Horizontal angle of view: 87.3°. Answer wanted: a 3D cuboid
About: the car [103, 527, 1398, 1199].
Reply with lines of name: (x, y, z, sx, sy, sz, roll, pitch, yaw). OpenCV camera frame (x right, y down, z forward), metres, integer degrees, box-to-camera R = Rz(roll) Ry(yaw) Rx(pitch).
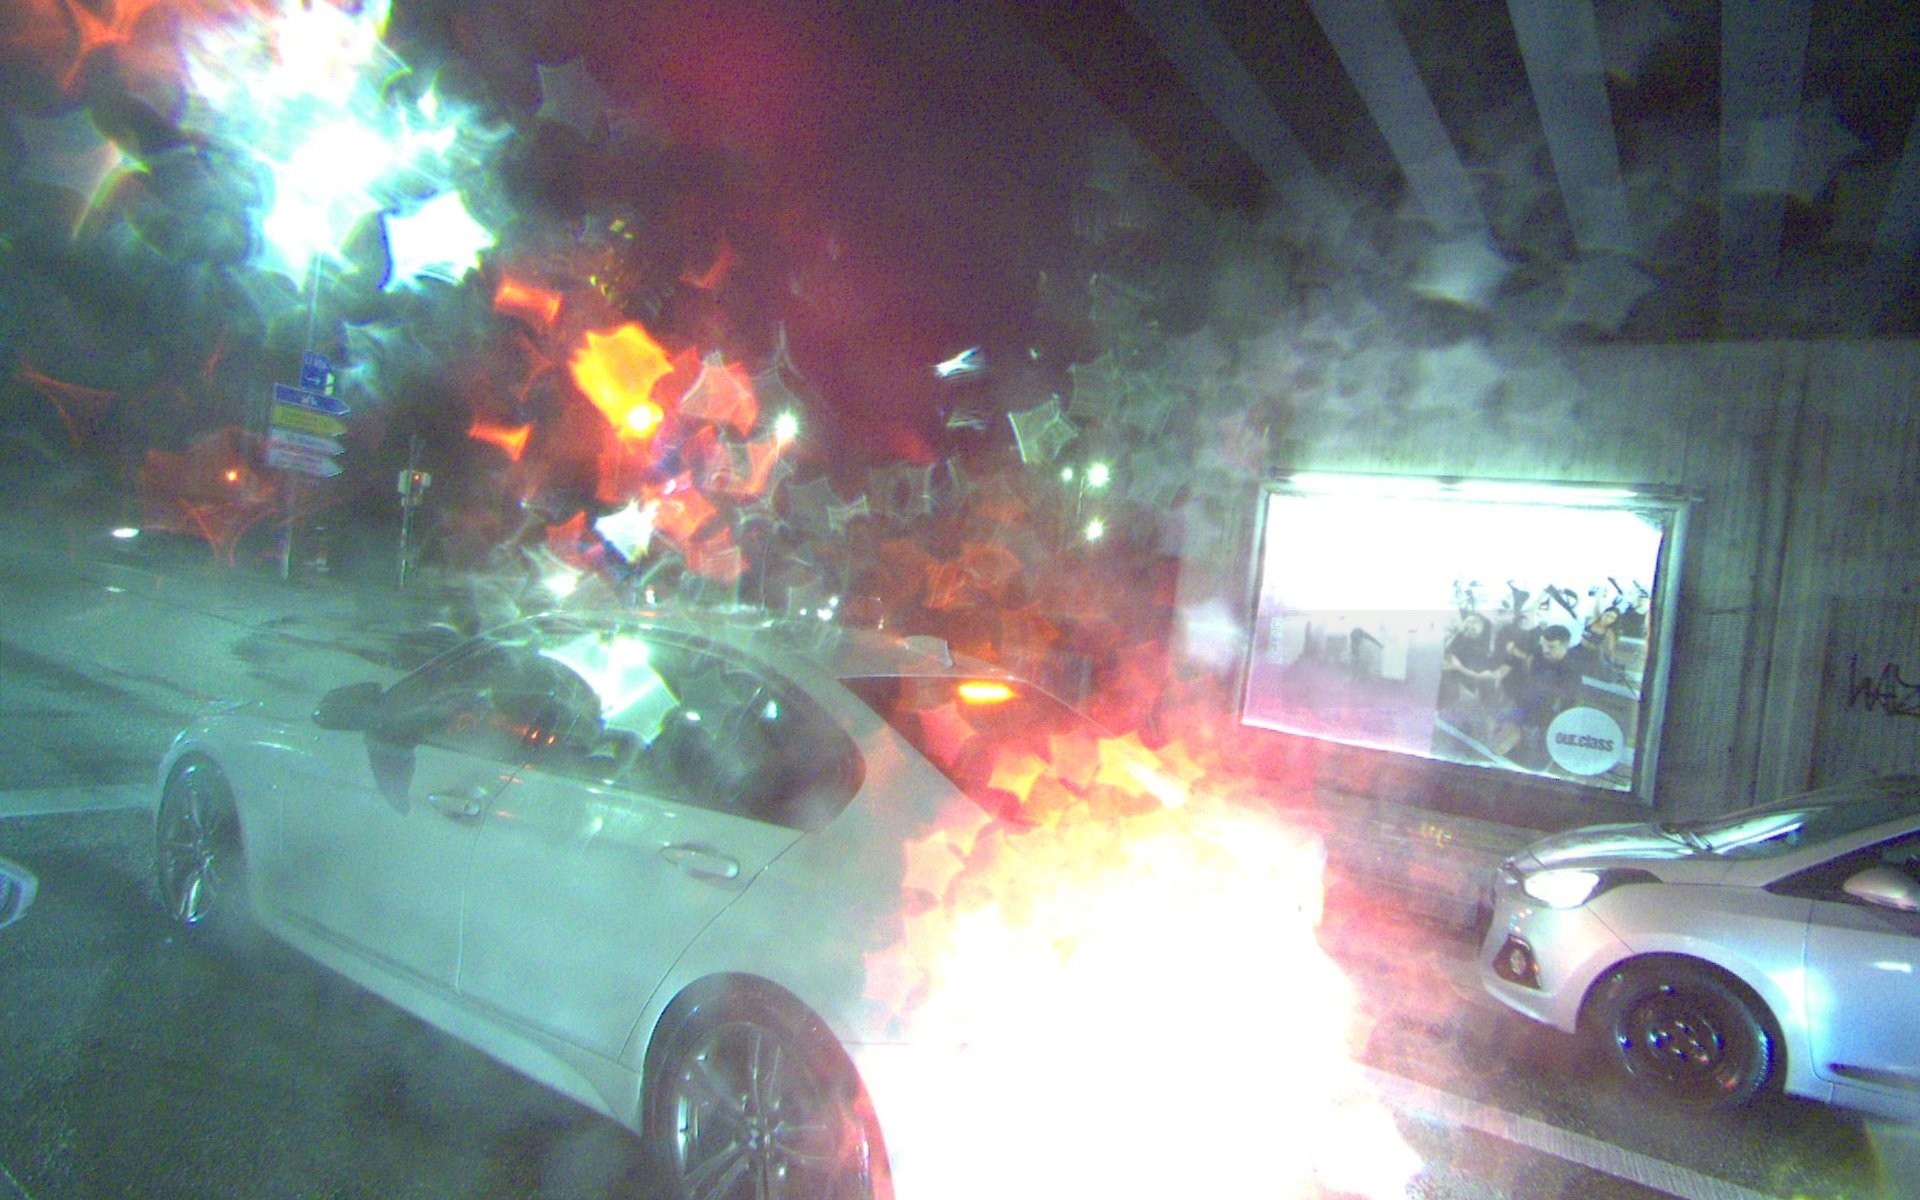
car: (-0.974, 0.704, 3.495, 4.277, 1.420, 1.720, 6, -2, 32)

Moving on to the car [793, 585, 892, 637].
car: (-5.281, 0.541, 45.740, 1.831, 1.769, 4.496, 6, -2, 35)

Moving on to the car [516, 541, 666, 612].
car: (-12.638, -0.782, 34.721, 1.882, 1.761, 4.384, 6, -3, 38)

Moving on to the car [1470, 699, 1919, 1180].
car: (4.122, 1.392, 4.030, 3.532, 1.476, 1.637, 6, -2, 30)

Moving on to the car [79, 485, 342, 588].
car: (-18.917, -1.556, 25.646, 1.941, 1.761, 4.906, 6, -3, 36)
